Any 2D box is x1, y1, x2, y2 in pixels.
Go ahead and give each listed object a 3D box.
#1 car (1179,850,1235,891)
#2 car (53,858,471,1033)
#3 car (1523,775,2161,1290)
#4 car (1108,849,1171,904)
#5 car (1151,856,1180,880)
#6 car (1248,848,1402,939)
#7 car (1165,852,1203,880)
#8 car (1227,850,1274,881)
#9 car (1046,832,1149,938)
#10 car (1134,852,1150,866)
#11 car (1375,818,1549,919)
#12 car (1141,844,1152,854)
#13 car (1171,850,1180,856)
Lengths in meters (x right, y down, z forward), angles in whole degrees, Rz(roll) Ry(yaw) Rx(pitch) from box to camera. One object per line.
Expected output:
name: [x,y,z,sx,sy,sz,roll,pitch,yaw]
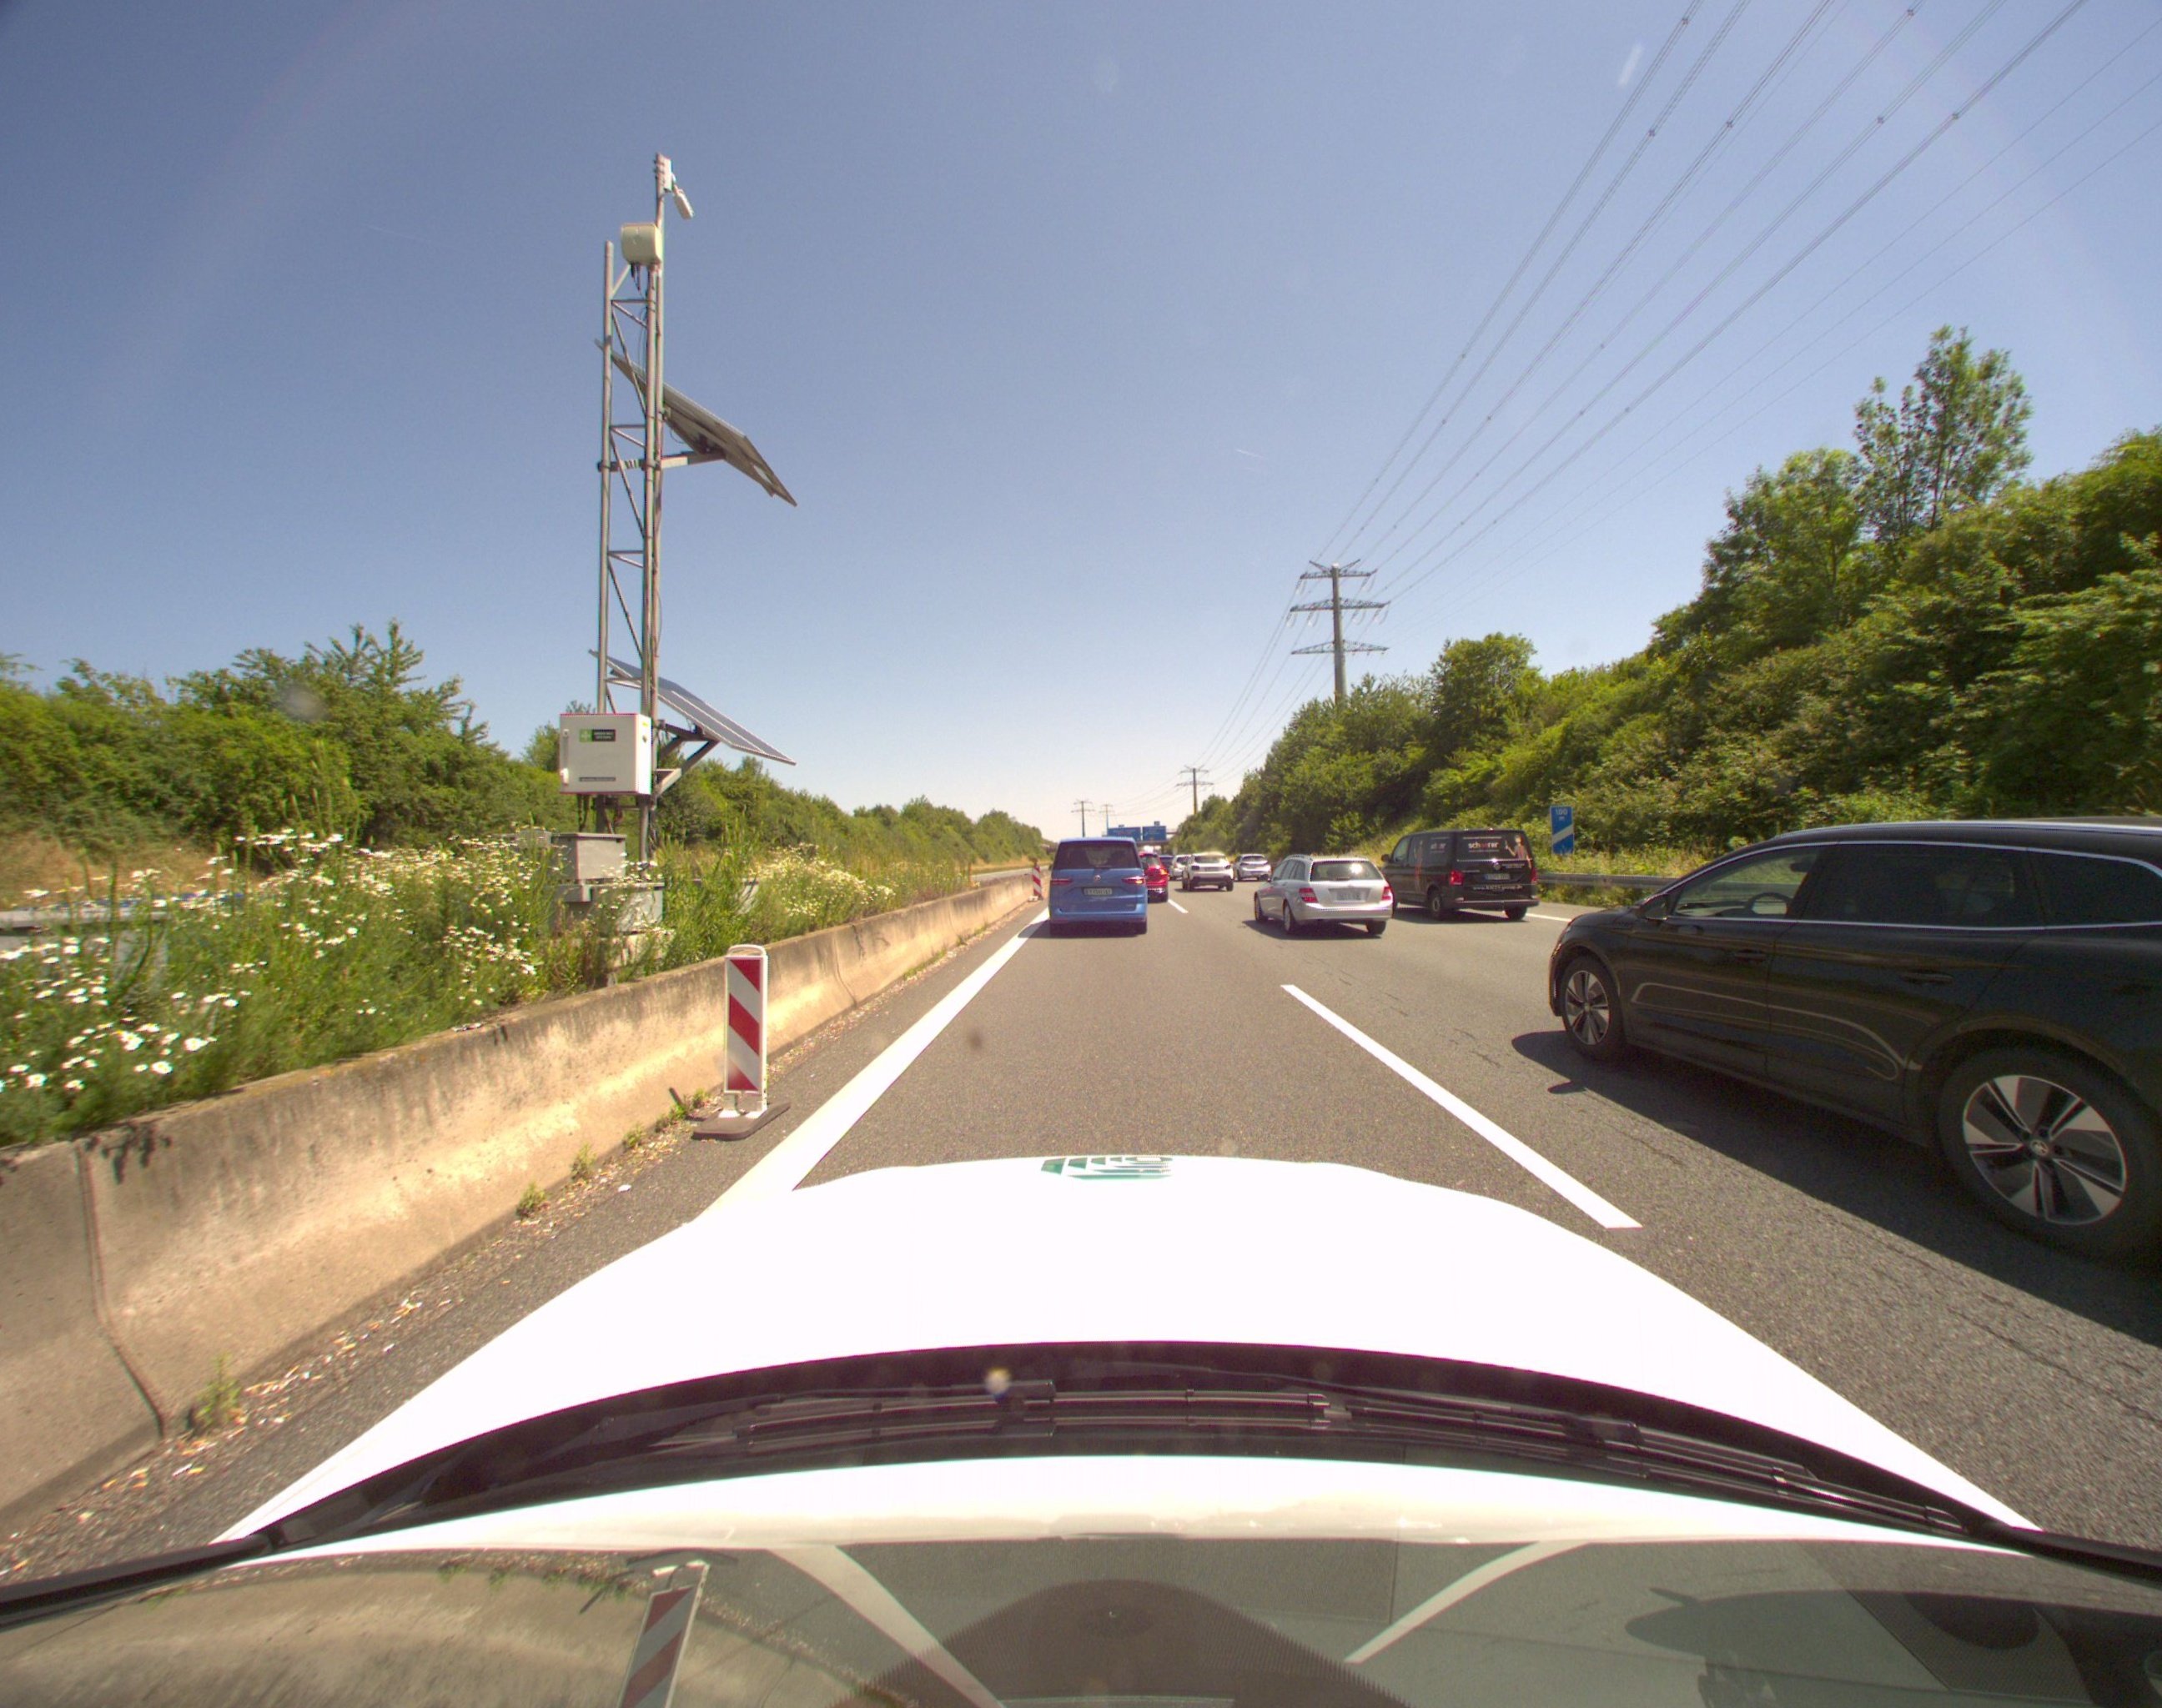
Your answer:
car: [5.116,0.655,33.652,1.791,1.594,4.228,0,0,2]
car: [-11.400,1.118,11.835,1.875,2.013,4.002,-3,0,2]
car: [4.349,0.580,4.291,1.695,1.655,4.430,0,0,1]
car: [1.850,0.695,27.011,1.868,1.671,4.360,0,0,1]
car: [6.011,0.971,58.326,1.791,1.594,4.228,0,0,2]
car: [4.575,0.681,15.960,1.764,1.517,4.360,0,0,1]
car: [5.985,0.689,47.716,1.791,1.594,4.228,0,0,2]
car: [9.052,0.589,43.868,1.791,1.594,4.228,0,0,2]
car: [0.344,0.582,17.053,1.868,1.912,4.360,0,0,1]
car: [7.143,0.596,95.558,1.791,1.594,4.228,0,0,2]
car: [8.349,0.300,18.325,1.793,2.014,4.223,0,0,-2]
car: [15.075,-1.143,188.012,2.368,2.428,4.228,0,0,2]
car: [25.360,-0.292,218.363,1.868,1.671,4.360,0,0,1]
